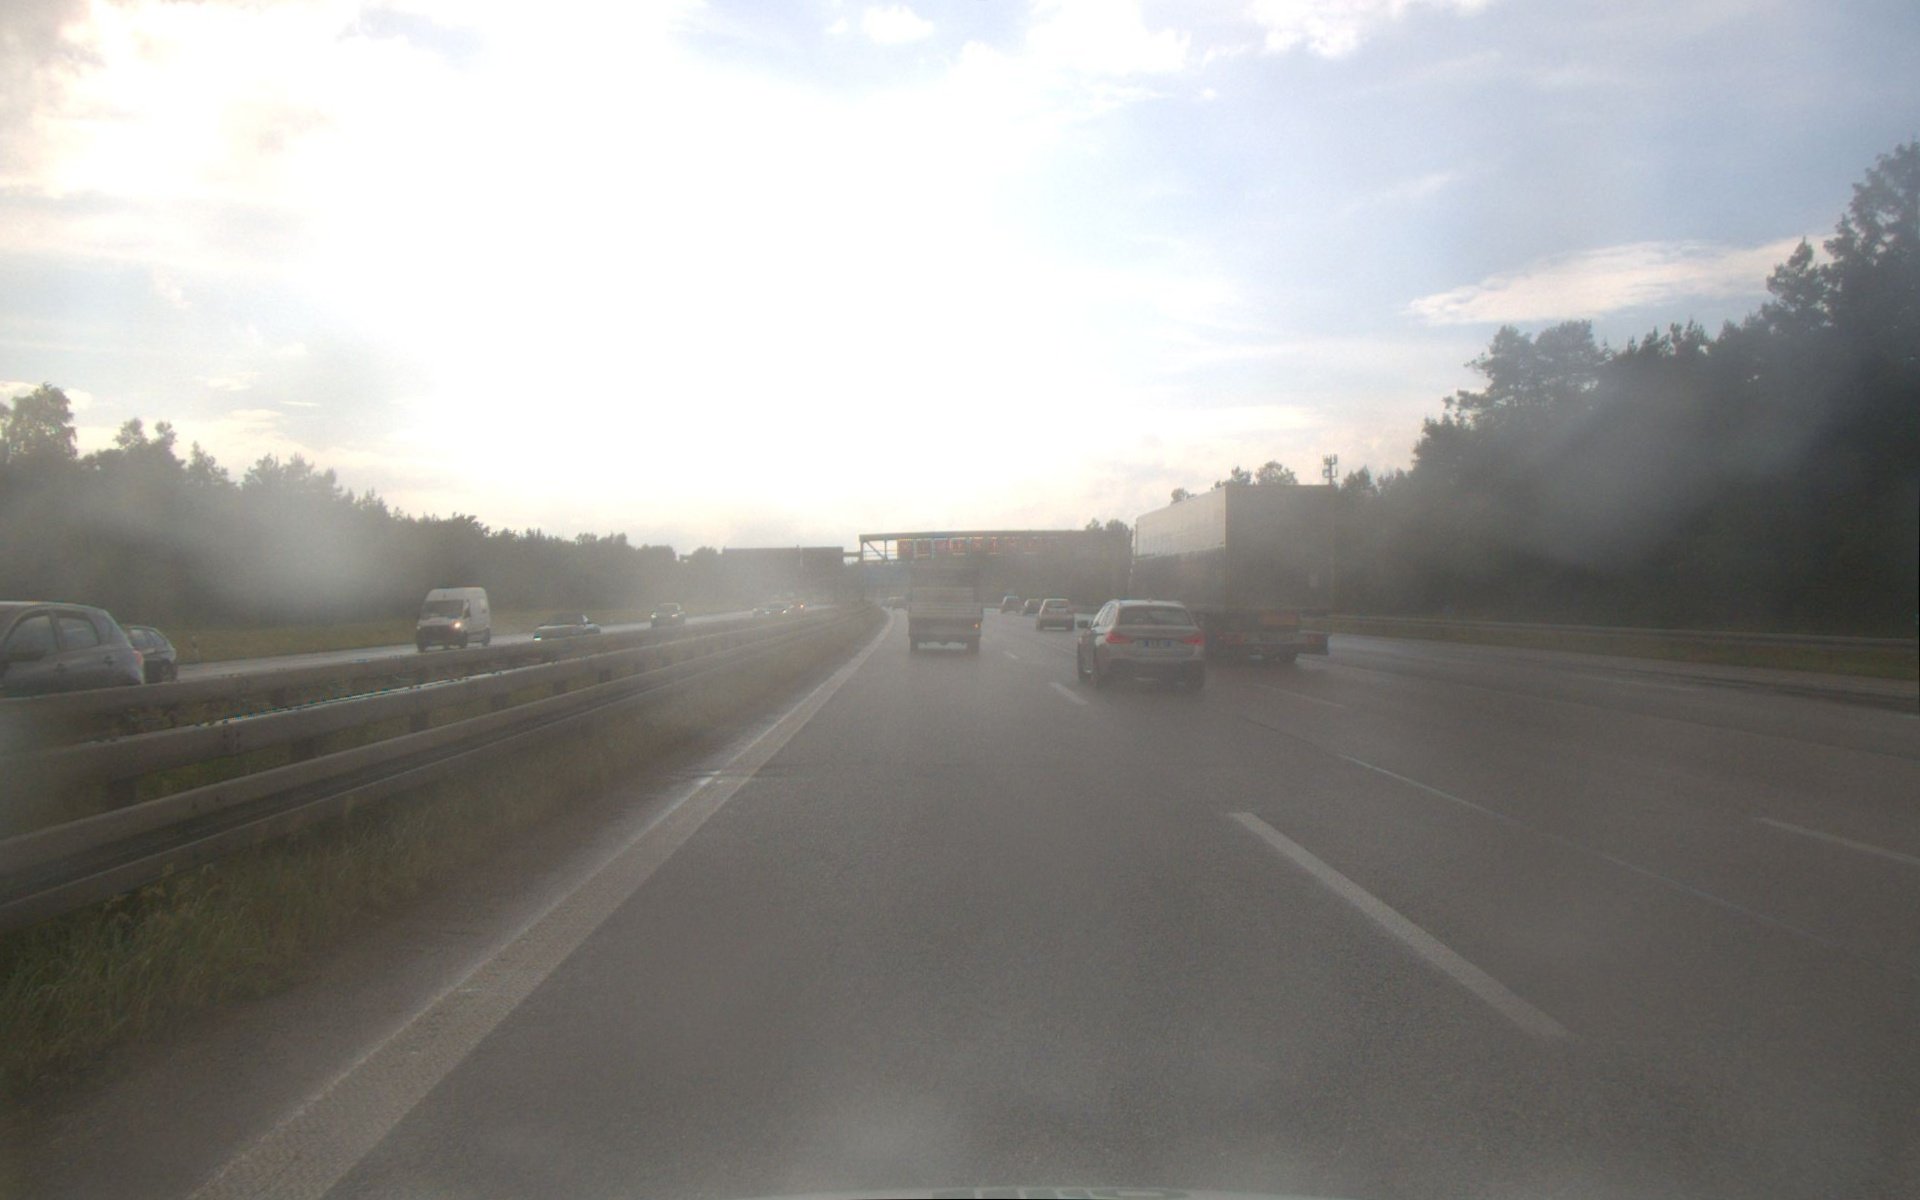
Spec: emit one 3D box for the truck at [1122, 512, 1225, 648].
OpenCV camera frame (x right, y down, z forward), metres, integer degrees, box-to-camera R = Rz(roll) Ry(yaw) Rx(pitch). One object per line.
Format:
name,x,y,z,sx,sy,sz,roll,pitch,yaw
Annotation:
truck,6.452,-0.592,50.561,2.248,3.935,5.389,0,0,-2

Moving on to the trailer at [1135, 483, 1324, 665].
trailer,6.752,-0.608,43.761,2.277,4.071,13.405,0,0,-2

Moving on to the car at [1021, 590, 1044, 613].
car,6.742,0.154,154.530,1.952,2.049,4.000,1,0,1

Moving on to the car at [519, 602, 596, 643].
car,-14.406,0.778,59.447,1.663,1.348,4.666,-2,0,-1

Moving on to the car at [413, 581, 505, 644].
car,-21.905,0.496,72.599,2.056,2.554,6.582,-2,0,-1

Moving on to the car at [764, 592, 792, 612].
car,-13.845,0.154,125.858,1.837,1.456,3.998,-1,0,-3

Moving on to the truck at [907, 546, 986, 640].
truck,-0.359,-0.207,47.010,2.093,2.532,5.313,0,0,0

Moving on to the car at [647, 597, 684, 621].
car,-18.778,0.561,105.544,1.837,1.498,3.998,-2,0,-3

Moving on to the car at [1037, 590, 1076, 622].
car,4.709,0.279,80.746,1.793,1.492,4.001,0,0,2

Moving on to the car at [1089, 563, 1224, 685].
car,3.329,0.372,28.946,2.034,1.918,5.013,1,0,3

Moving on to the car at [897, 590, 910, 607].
car,-7.215,-0.220,212.561,1.585,2.049,3.998,1,0,-3

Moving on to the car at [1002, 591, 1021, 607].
car,5.505,-0.147,176.699,1.706,1.718,3.998,0,0,-2

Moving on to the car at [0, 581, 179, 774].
car,-8.704,0.637,14.607,1.734,1.566,3.999,-1,0,-1
